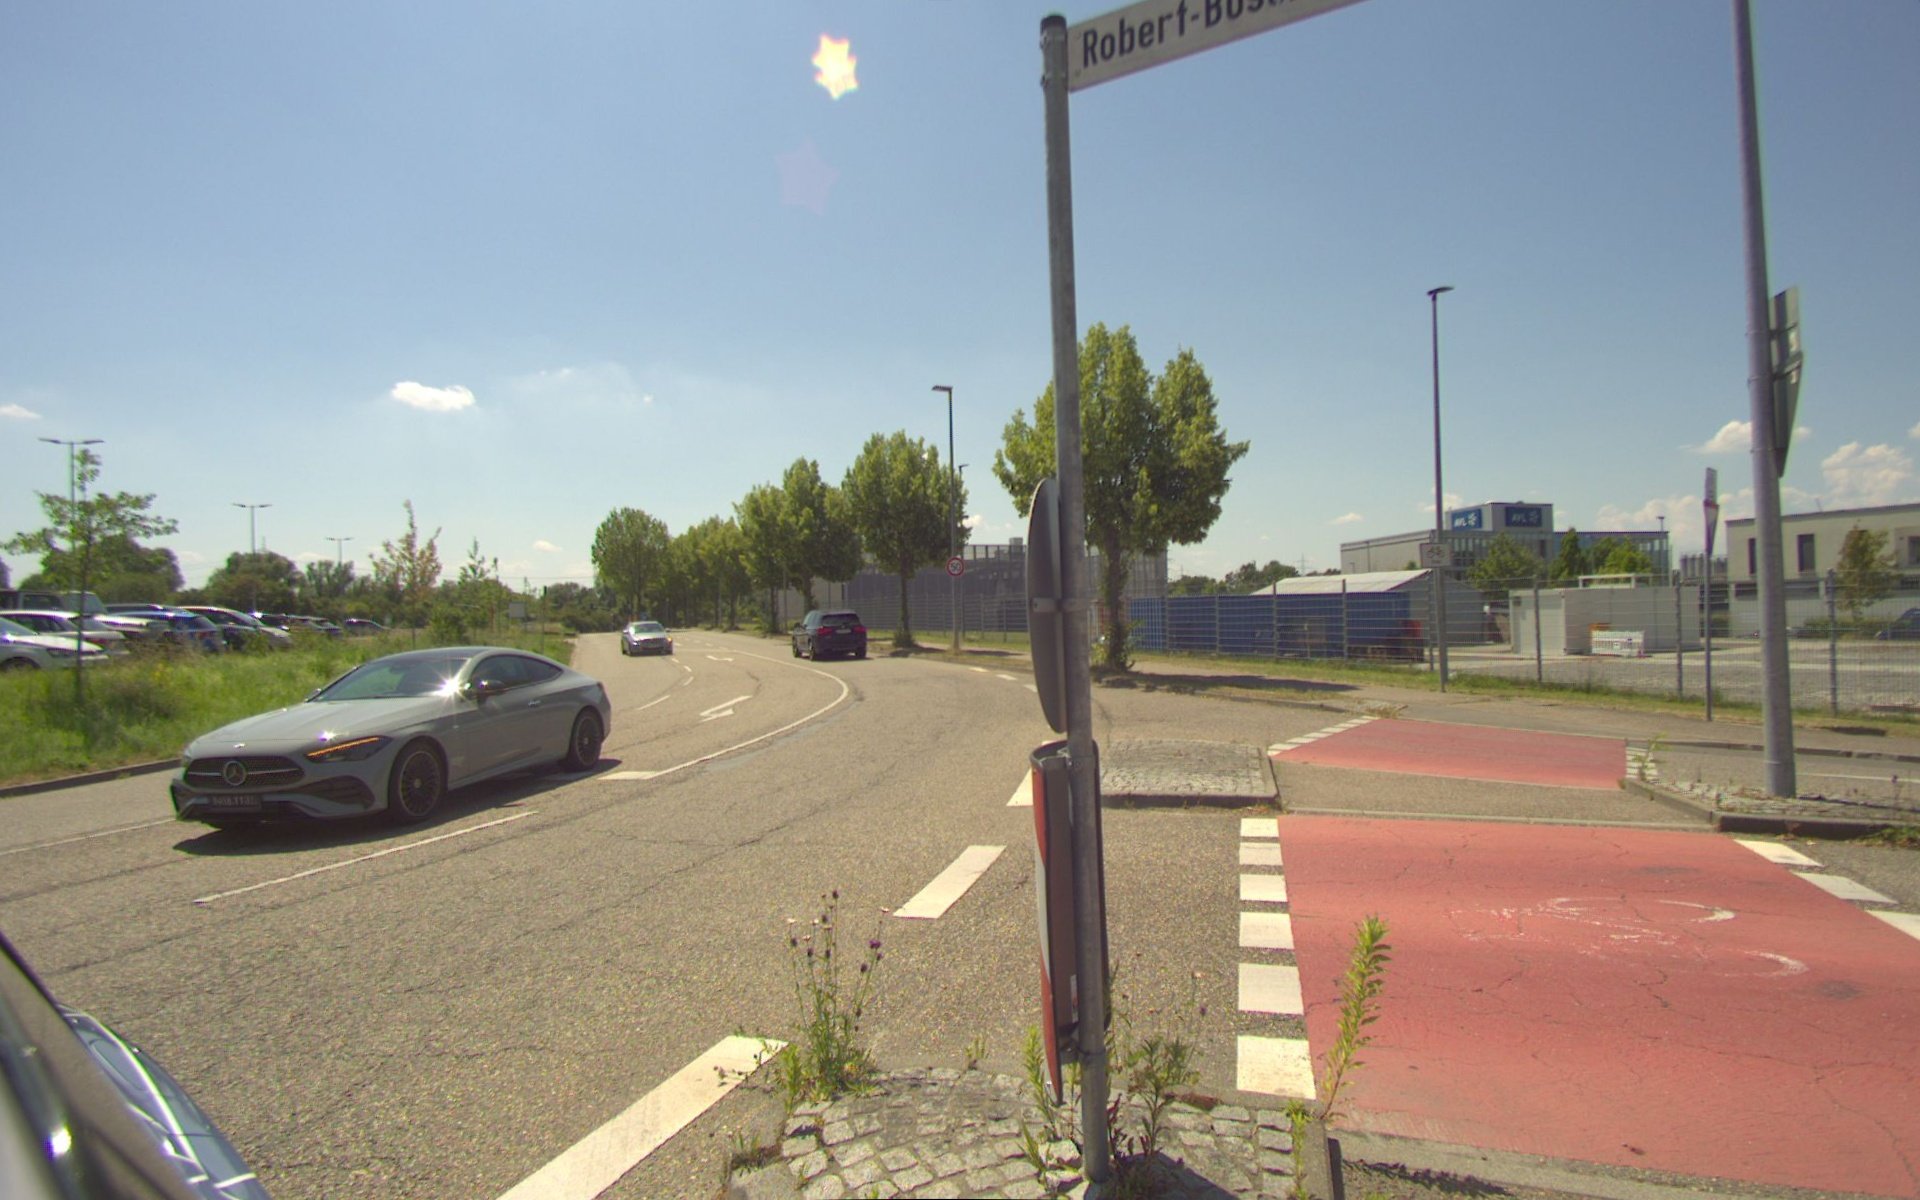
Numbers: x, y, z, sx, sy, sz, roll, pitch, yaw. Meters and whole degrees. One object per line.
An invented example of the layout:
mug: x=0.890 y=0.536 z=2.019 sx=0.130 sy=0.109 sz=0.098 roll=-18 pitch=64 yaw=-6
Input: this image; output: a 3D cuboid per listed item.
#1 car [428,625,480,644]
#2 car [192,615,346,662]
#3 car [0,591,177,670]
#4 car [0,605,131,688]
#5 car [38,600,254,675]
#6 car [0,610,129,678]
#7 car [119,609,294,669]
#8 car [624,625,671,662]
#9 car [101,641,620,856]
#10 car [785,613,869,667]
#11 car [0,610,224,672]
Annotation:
car: x=-43.793 y=2.995 z=87.700 sx=3.931 sy=1.361 sz=1.652 roll=-3 pitch=1 yaw=-25
car: x=-23.491 y=1.281 z=34.574 sx=3.931 sy=1.301 sz=1.915 roll=-3 pitch=1 yaw=-20
car: x=-19.315 y=0.623 z=21.576 sx=3.685 sy=1.539 sz=1.882 roll=-1 pitch=1 yaw=-16
car: x=-16.627 y=0.787 z=17.029 sx=3.811 sy=1.307 sz=1.580 roll=-1 pitch=1 yaw=-20
car: x=-21.021 y=0.933 z=26.356 sx=3.971 sy=1.440 sz=1.693 roll=-6 pitch=2 yaw=-23
car: x=-18.052 y=0.832 z=19.180 sx=3.214 sy=1.191 sz=1.506 roll=-1 pitch=1 yaw=-21
car: x=-21.652 y=1.098 z=29.264 sx=3.783 sy=1.636 sz=1.622 roll=0 pitch=-1 yaw=-23
car: x=-13.630 y=1.843 z=44.018 sx=1.645 sy=1.385 sz=4.511 roll=-4 pitch=1 yaw=-20
car: x=-5.237 y=1.206 z=9.773 sx=1.876 sy=1.394 sz=4.623 roll=-3 pitch=-1 yaw=7
car: x=-4.616 y=1.311 z=34.594 sx=1.838 sy=1.647 sz=4.614 roll=-2 pitch=0 yaw=-20
car: x=-20.136 y=0.933 z=24.164 sx=3.878 sy=1.267 sz=1.591 roll=-1 pitch=1 yaw=-24
